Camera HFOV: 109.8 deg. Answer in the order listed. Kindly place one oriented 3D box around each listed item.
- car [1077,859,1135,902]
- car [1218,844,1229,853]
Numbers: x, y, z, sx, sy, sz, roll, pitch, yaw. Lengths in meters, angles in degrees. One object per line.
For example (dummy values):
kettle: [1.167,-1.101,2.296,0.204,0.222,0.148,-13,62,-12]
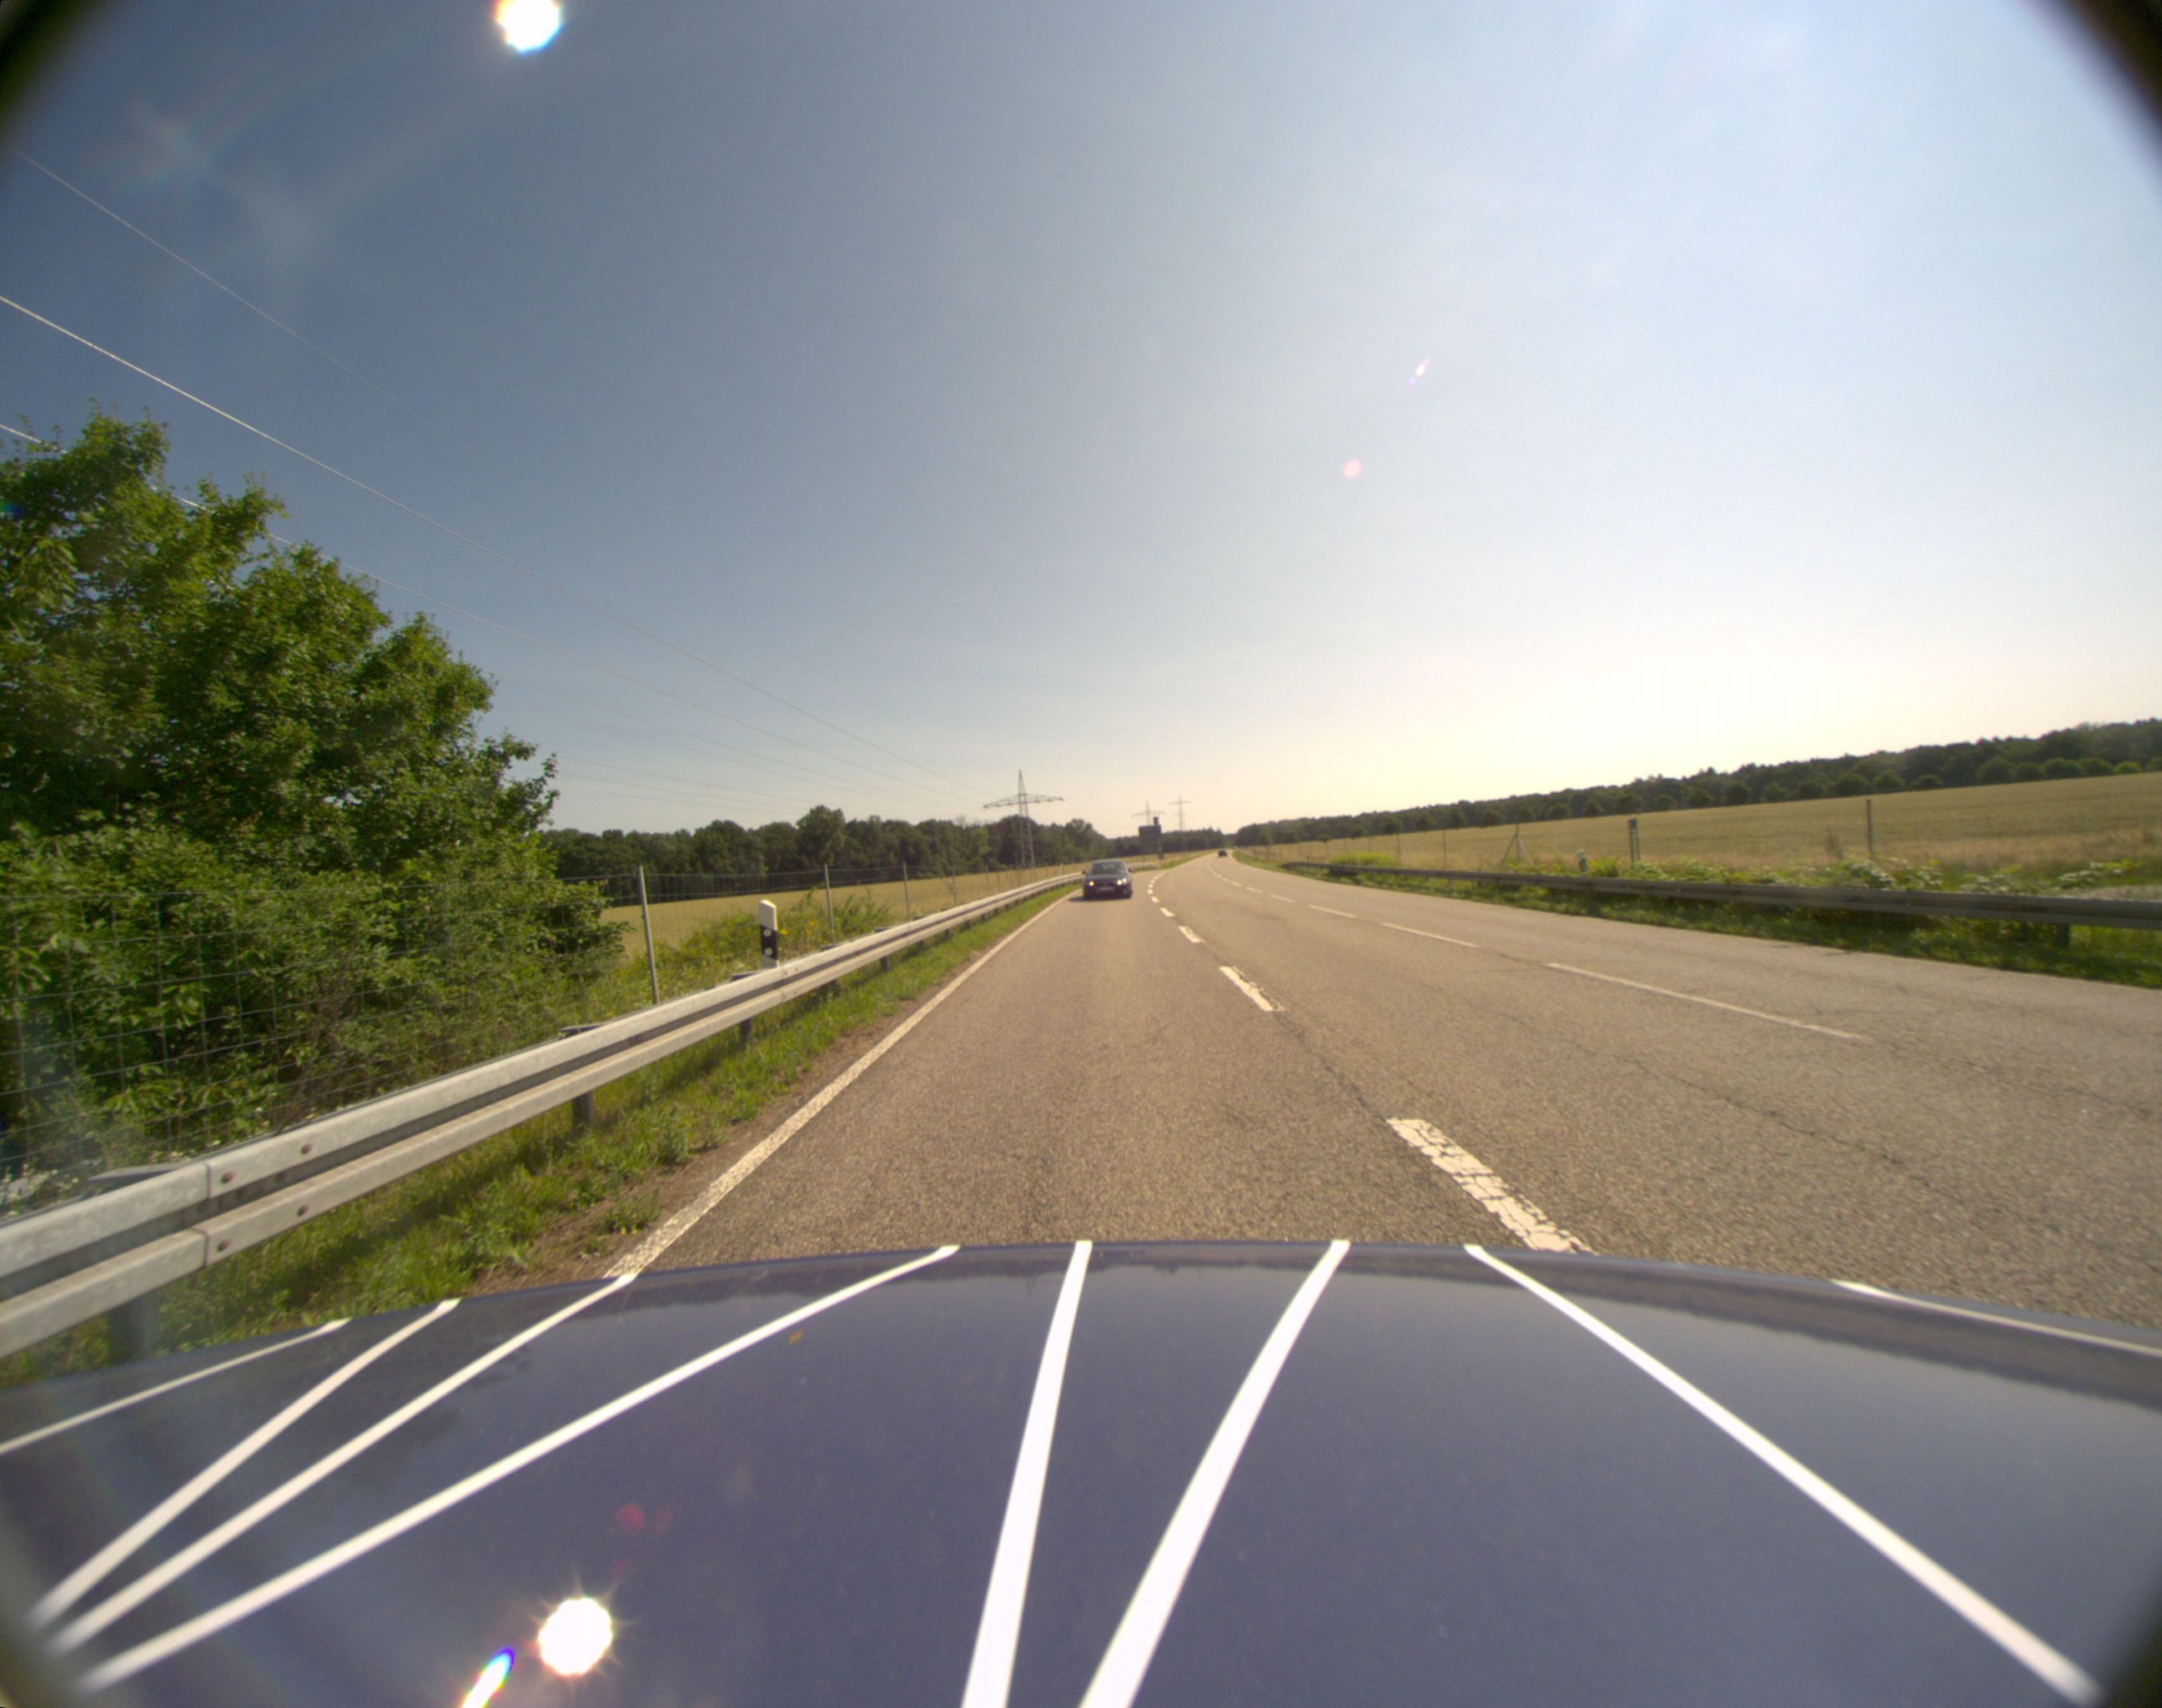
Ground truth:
car: [1.009,0.936,28.541,1.885,1.448,4.077,-2,0,6]
car: [27.393,-1.054,146.232,1.832,1.499,4.165,-3,0,9]
